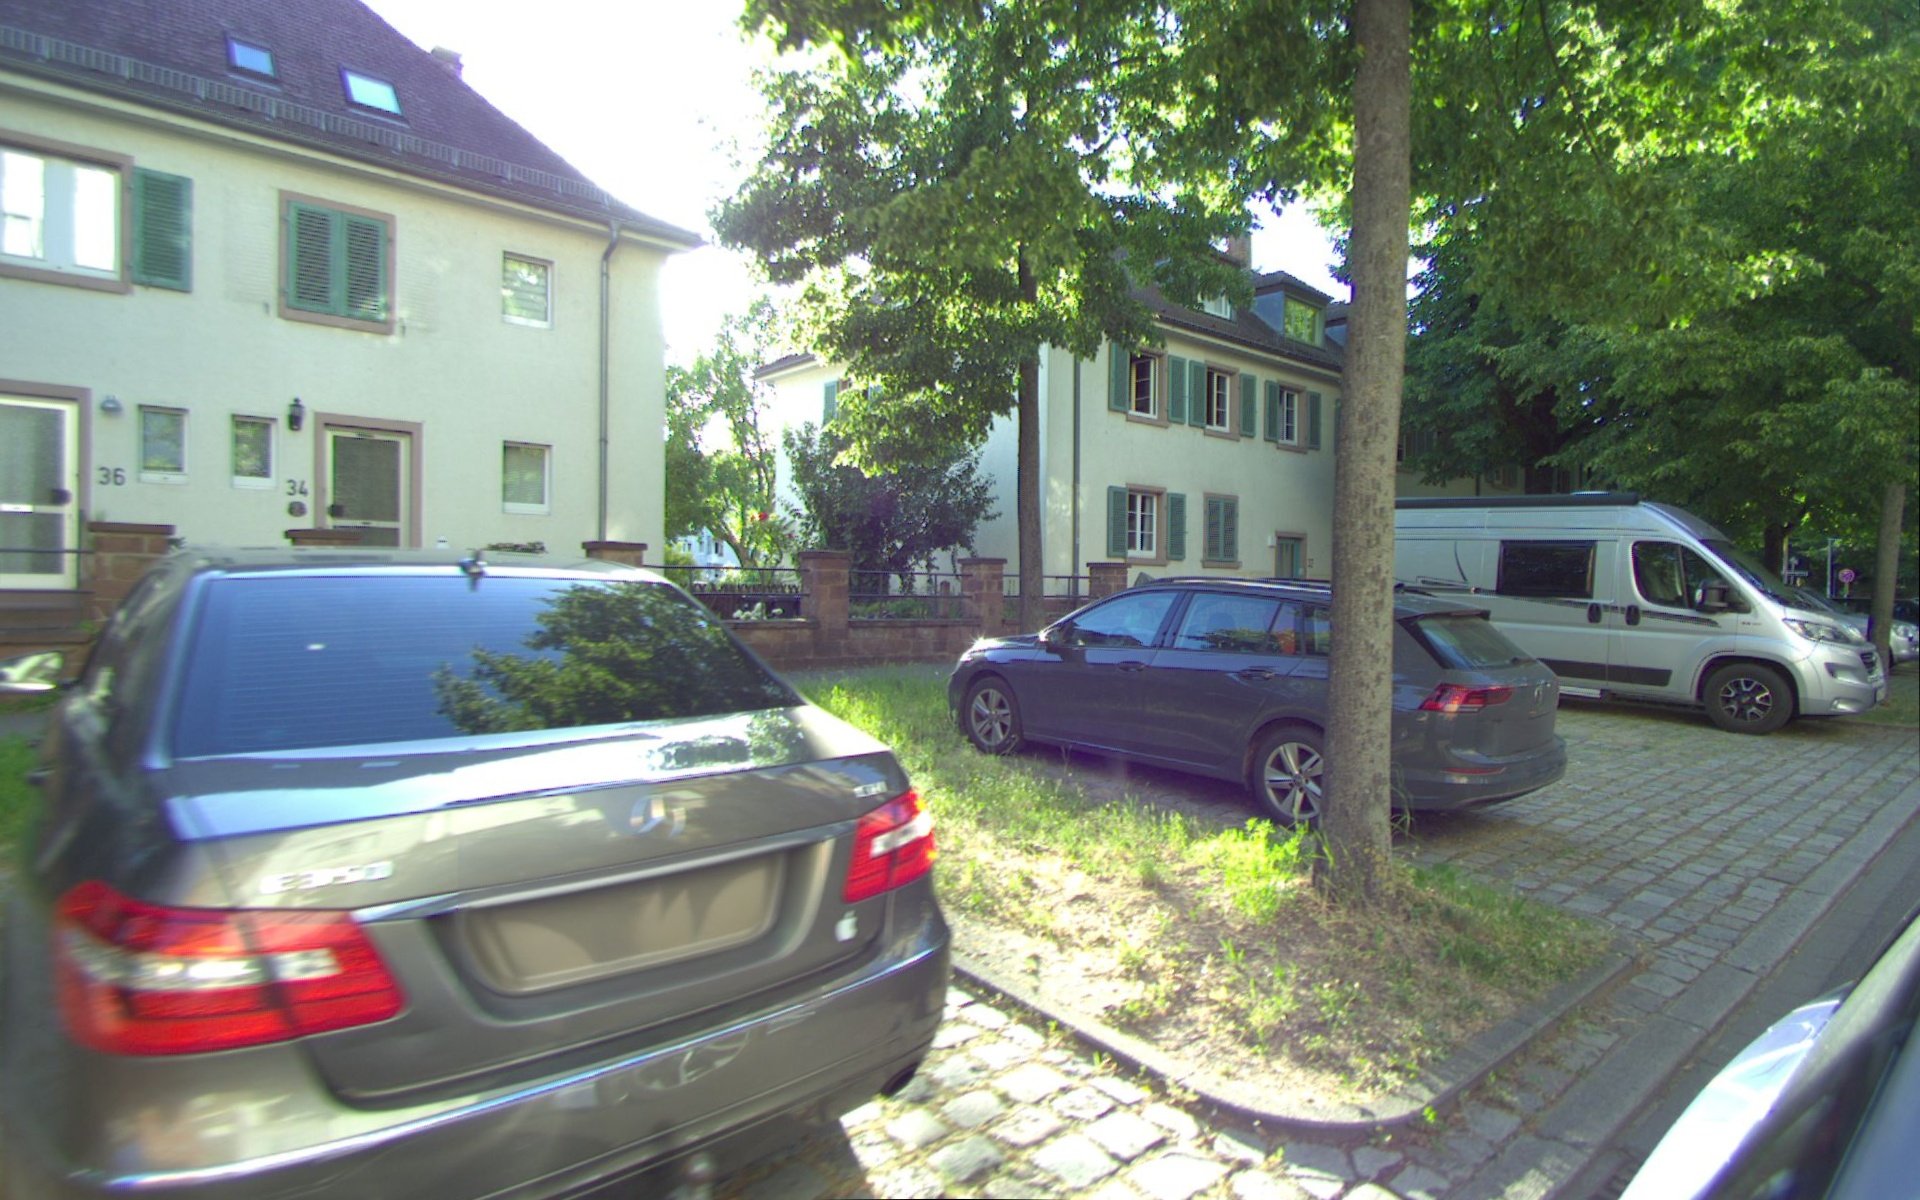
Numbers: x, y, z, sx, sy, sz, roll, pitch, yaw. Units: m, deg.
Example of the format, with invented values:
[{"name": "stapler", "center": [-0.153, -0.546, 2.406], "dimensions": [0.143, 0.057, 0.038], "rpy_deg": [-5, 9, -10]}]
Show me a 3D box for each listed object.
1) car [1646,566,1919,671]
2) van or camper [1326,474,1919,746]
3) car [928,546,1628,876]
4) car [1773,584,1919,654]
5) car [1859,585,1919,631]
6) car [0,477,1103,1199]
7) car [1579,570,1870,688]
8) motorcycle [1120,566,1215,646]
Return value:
[{"name": "car", "center": [16.807, 0.298, 20.347], "dimensions": [1.966, 1.737, 4.603], "rpy_deg": [0, 3, -42]}, {"name": "van or camper", "center": [7.725, -0.129, 12.328], "dimensions": [2.124, 2.546, 5.734], "rpy_deg": [0, 4, -40]}, {"name": "car", "center": [1.880, 0.458, 7.262], "dimensions": [1.795, 1.453, 4.488], "rpy_deg": [0, 4, -40]}, {"name": "car", "center": [22.517, 0.457, 24.631], "dimensions": [1.528, 1.571, 3.996], "rpy_deg": [0, 2, -40]}, {"name": "car", "center": [33.657, 0.313, 34.774], "dimensions": [1.547, 1.531, 3.991], "rpy_deg": [0, 2, -44]}, {"name": "car", "center": [-2.013, 0.456, 3.426], "dimensions": [1.862, 1.558, 4.847], "rpy_deg": [0, 5, -42]}, {"name": "car", "center": [11.950, 0.367, 15.960], "dimensions": [1.792, 1.480, 3.262], "rpy_deg": [0, 4, -39]}, {"name": "motorcycle", "center": [3.907, 0.085, 18.978], "dimensions": [1.981, 1.424, 0.660], "rpy_deg": [-1, 0, -41]}]
